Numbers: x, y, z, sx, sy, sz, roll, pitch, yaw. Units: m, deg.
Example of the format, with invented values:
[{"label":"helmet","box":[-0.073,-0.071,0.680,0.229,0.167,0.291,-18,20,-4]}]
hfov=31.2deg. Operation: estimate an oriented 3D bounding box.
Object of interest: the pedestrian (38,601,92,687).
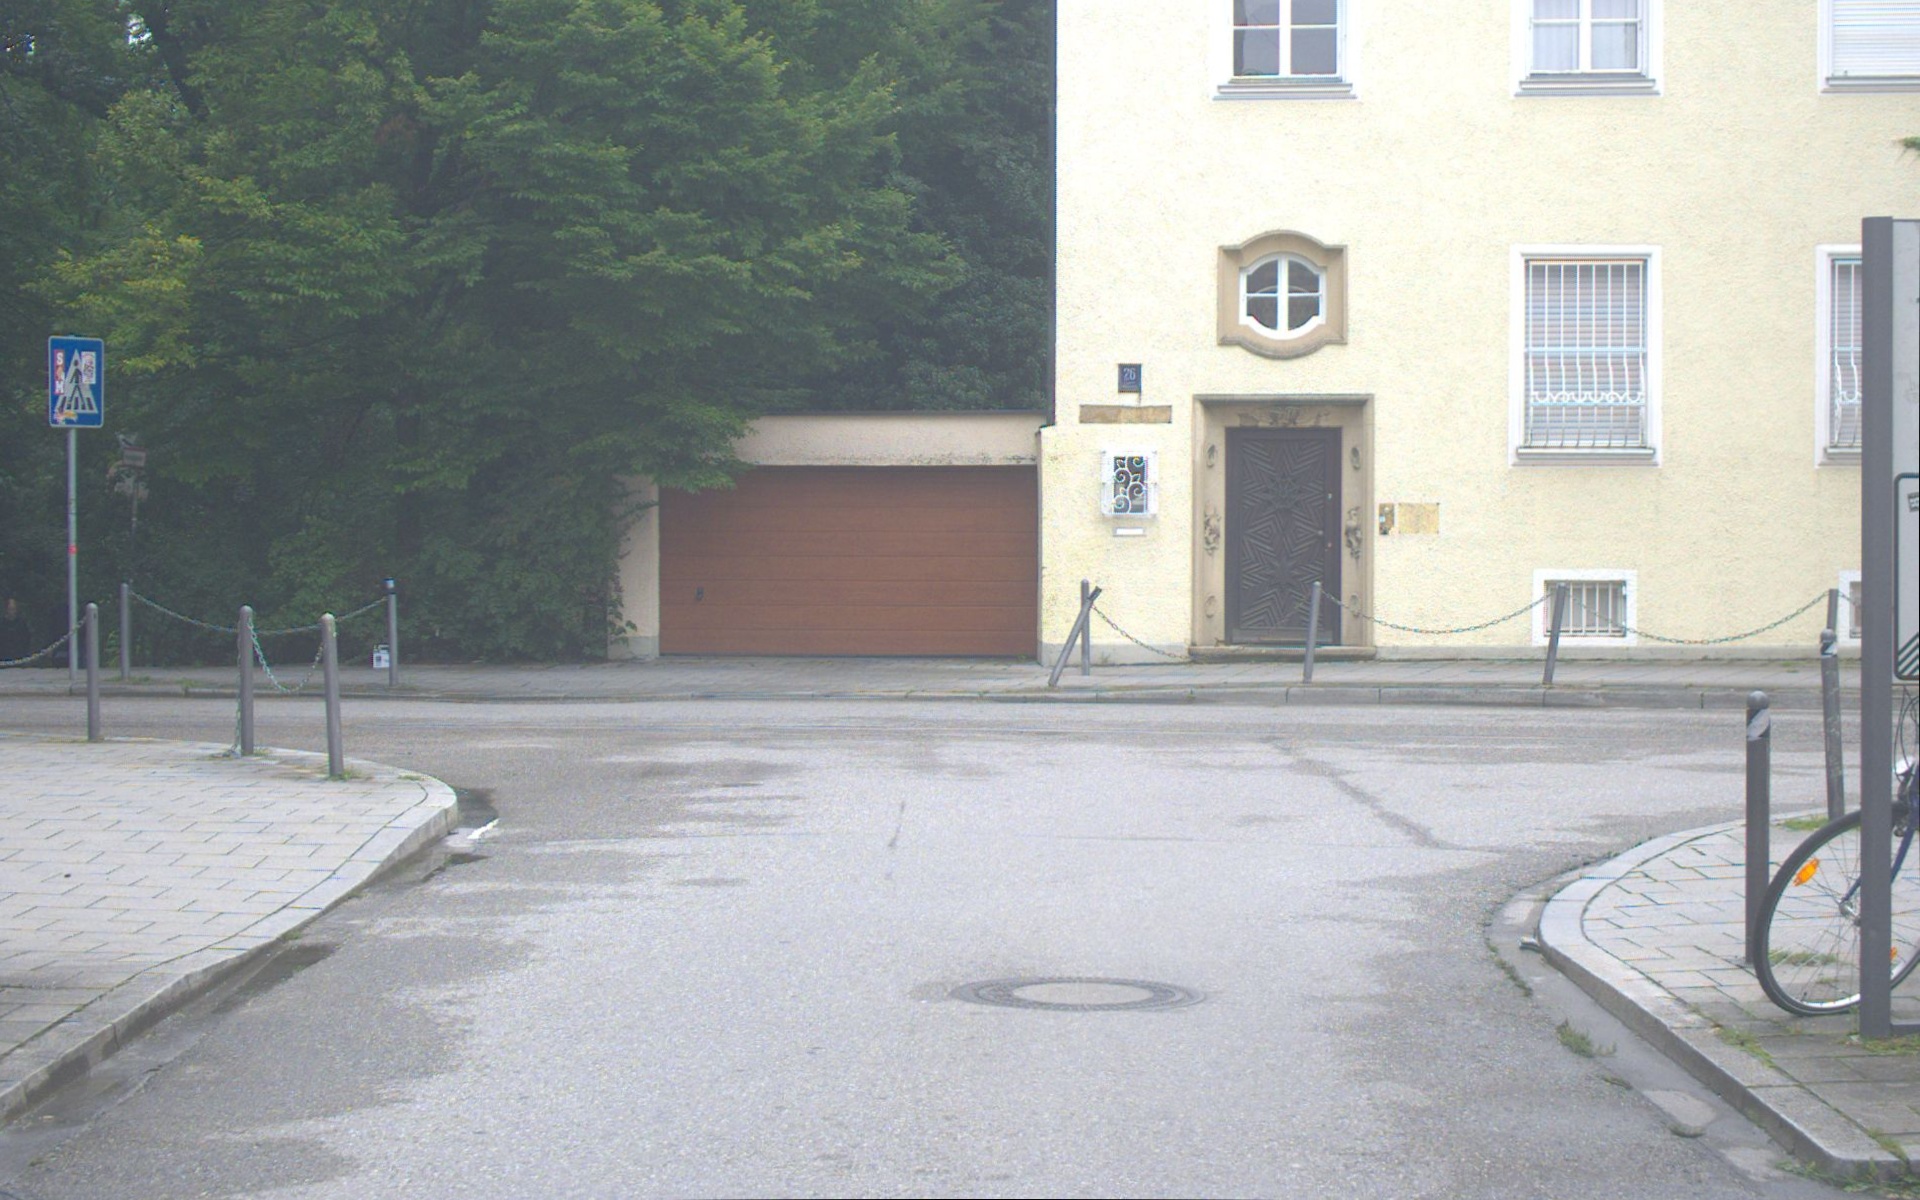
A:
[{"label":"pedestrian","box":[-12.368,0.607,47.508,0.585,1.164,0.497,1,1,5]}]

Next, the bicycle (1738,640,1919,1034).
[{"label":"bicycle","box":[3.215,0.678,9.876,1.794,1.082,0.665,0,3,27]}]

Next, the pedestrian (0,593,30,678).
[{"label":"pedestrian","box":[-13.207,0.489,47.641,0.471,1.152,0.497,1,1,5]}]
